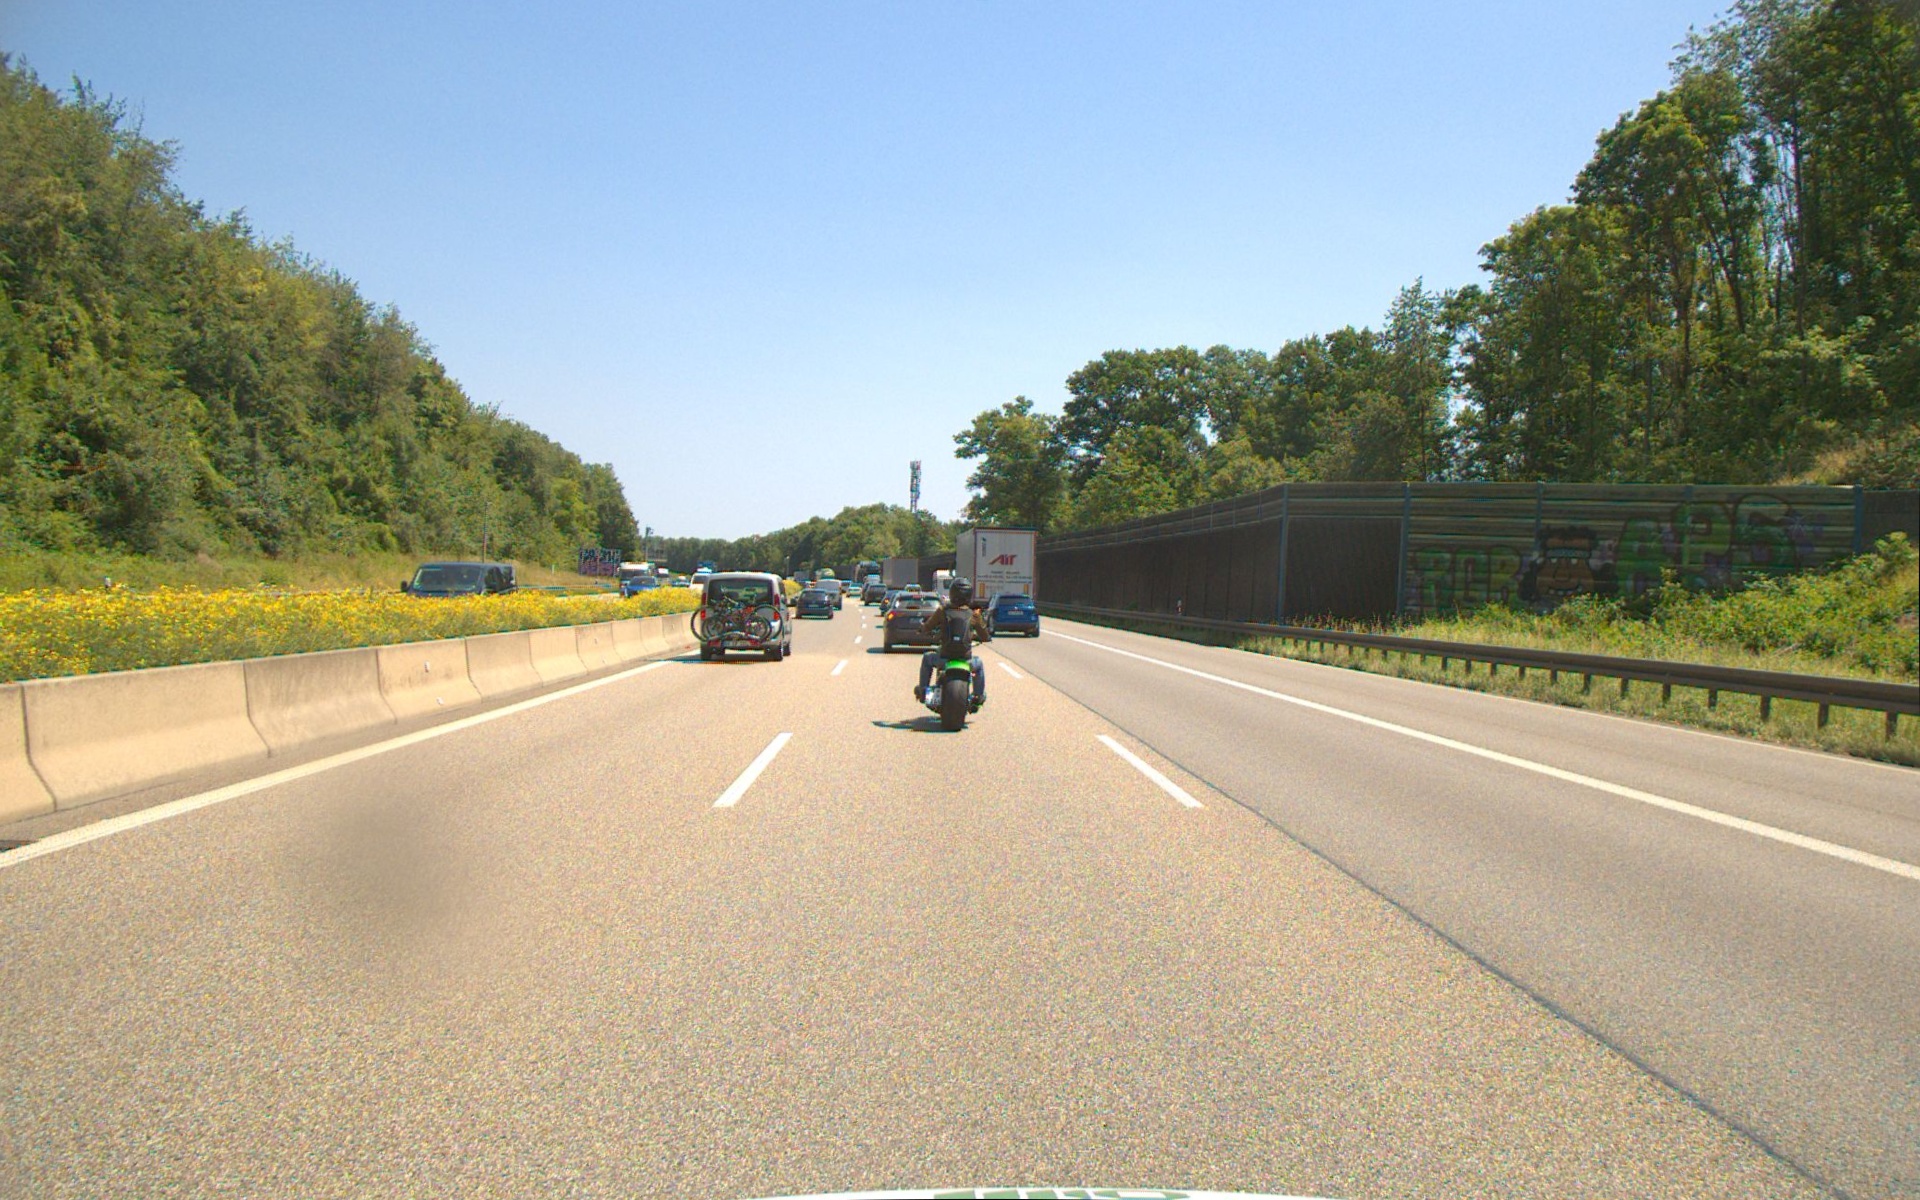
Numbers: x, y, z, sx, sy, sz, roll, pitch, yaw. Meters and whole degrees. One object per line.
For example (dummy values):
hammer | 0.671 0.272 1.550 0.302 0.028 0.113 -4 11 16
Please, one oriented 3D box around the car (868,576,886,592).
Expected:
car | -10.410 -1.968 208.166 2.067 1.909 3.995 1 -1 -6

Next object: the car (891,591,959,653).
car | -0.906 0.557 41.815 1.629 1.478 3.867 1 -1 -2

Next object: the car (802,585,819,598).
car | -17.692 -1.005 195.846 1.796 1.522 3.740 1 -1 -4

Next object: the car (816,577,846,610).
car | -8.151 -0.379 104.751 1.756 2.049 3.639 1 -1 -3

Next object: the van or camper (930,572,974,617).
van or camper | -0.586 -0.338 109.207 2.631 2.862 6.799 1 -1 -3

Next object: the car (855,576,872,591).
car | -12.458 -2.117 213.470 2.067 1.909 3.995 1 -1 -6

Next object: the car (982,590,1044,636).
car | 1.780 0.445 57.149 1.618 1.508 4.477 1 -1 -5

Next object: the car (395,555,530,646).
car | -11.938 0.031 40.006 1.953 2.049 4.419 1 -1 -1

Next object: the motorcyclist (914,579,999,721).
motorcyclist | -0.015 0.544 18.523 0.881 1.501 1.872 1 -1 1

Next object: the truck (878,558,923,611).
truck | -5.926 -1.483 163.239 3.730 5.046 8.938 1 -1 -6

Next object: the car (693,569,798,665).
car | -4.516 0.365 35.379 1.861 1.906 4.410 1 -1 -3

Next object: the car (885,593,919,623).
car | -3.109 0.440 89.028 1.743 1.579 3.584 1 -1 0

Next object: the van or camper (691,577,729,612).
van or camper | -15.103 -0.285 100.037 1.845 2.049 4.585 1 -1 -3

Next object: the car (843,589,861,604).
car | -11.131 -0.380 170.316 1.796 1.522 3.740 1 -1 -4

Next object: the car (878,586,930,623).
car | -2.302 0.201 66.843 1.954 1.455 3.844 1 -1 -4

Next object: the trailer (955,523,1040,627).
trailer | 1.466 -1.043 72.994 2.828 4.109 13.789 1 0 -2

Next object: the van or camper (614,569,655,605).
van or camper | -24.816 -0.950 126.406 2.143 2.605 6.926 1 -1 -4

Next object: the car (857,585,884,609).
car | -6.674 -0.212 123.610 1.954 1.669 3.997 1 -1 -3

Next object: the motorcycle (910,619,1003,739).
motorcycle | -0.010 0.833 18.600 0.944 1.168 2.812 1 0 1

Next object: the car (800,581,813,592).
car | -22.436 -2.017 242.233 1.797 1.522 3.738 1 -1 -7

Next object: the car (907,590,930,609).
car | -3.720 -0.014 148.646 1.954 1.601 3.997 1 -1 -3

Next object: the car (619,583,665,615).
car | -17.986 -0.028 93.784 1.954 1.720 4.398 1 -1 -3

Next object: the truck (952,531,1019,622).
truck | 1.177 -1.121 79.833 2.828 4.218 5.983 1 0 -2

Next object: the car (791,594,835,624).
car | -7.100 0.435 80.274 1.954 1.411 3.997 1 -1 -3
